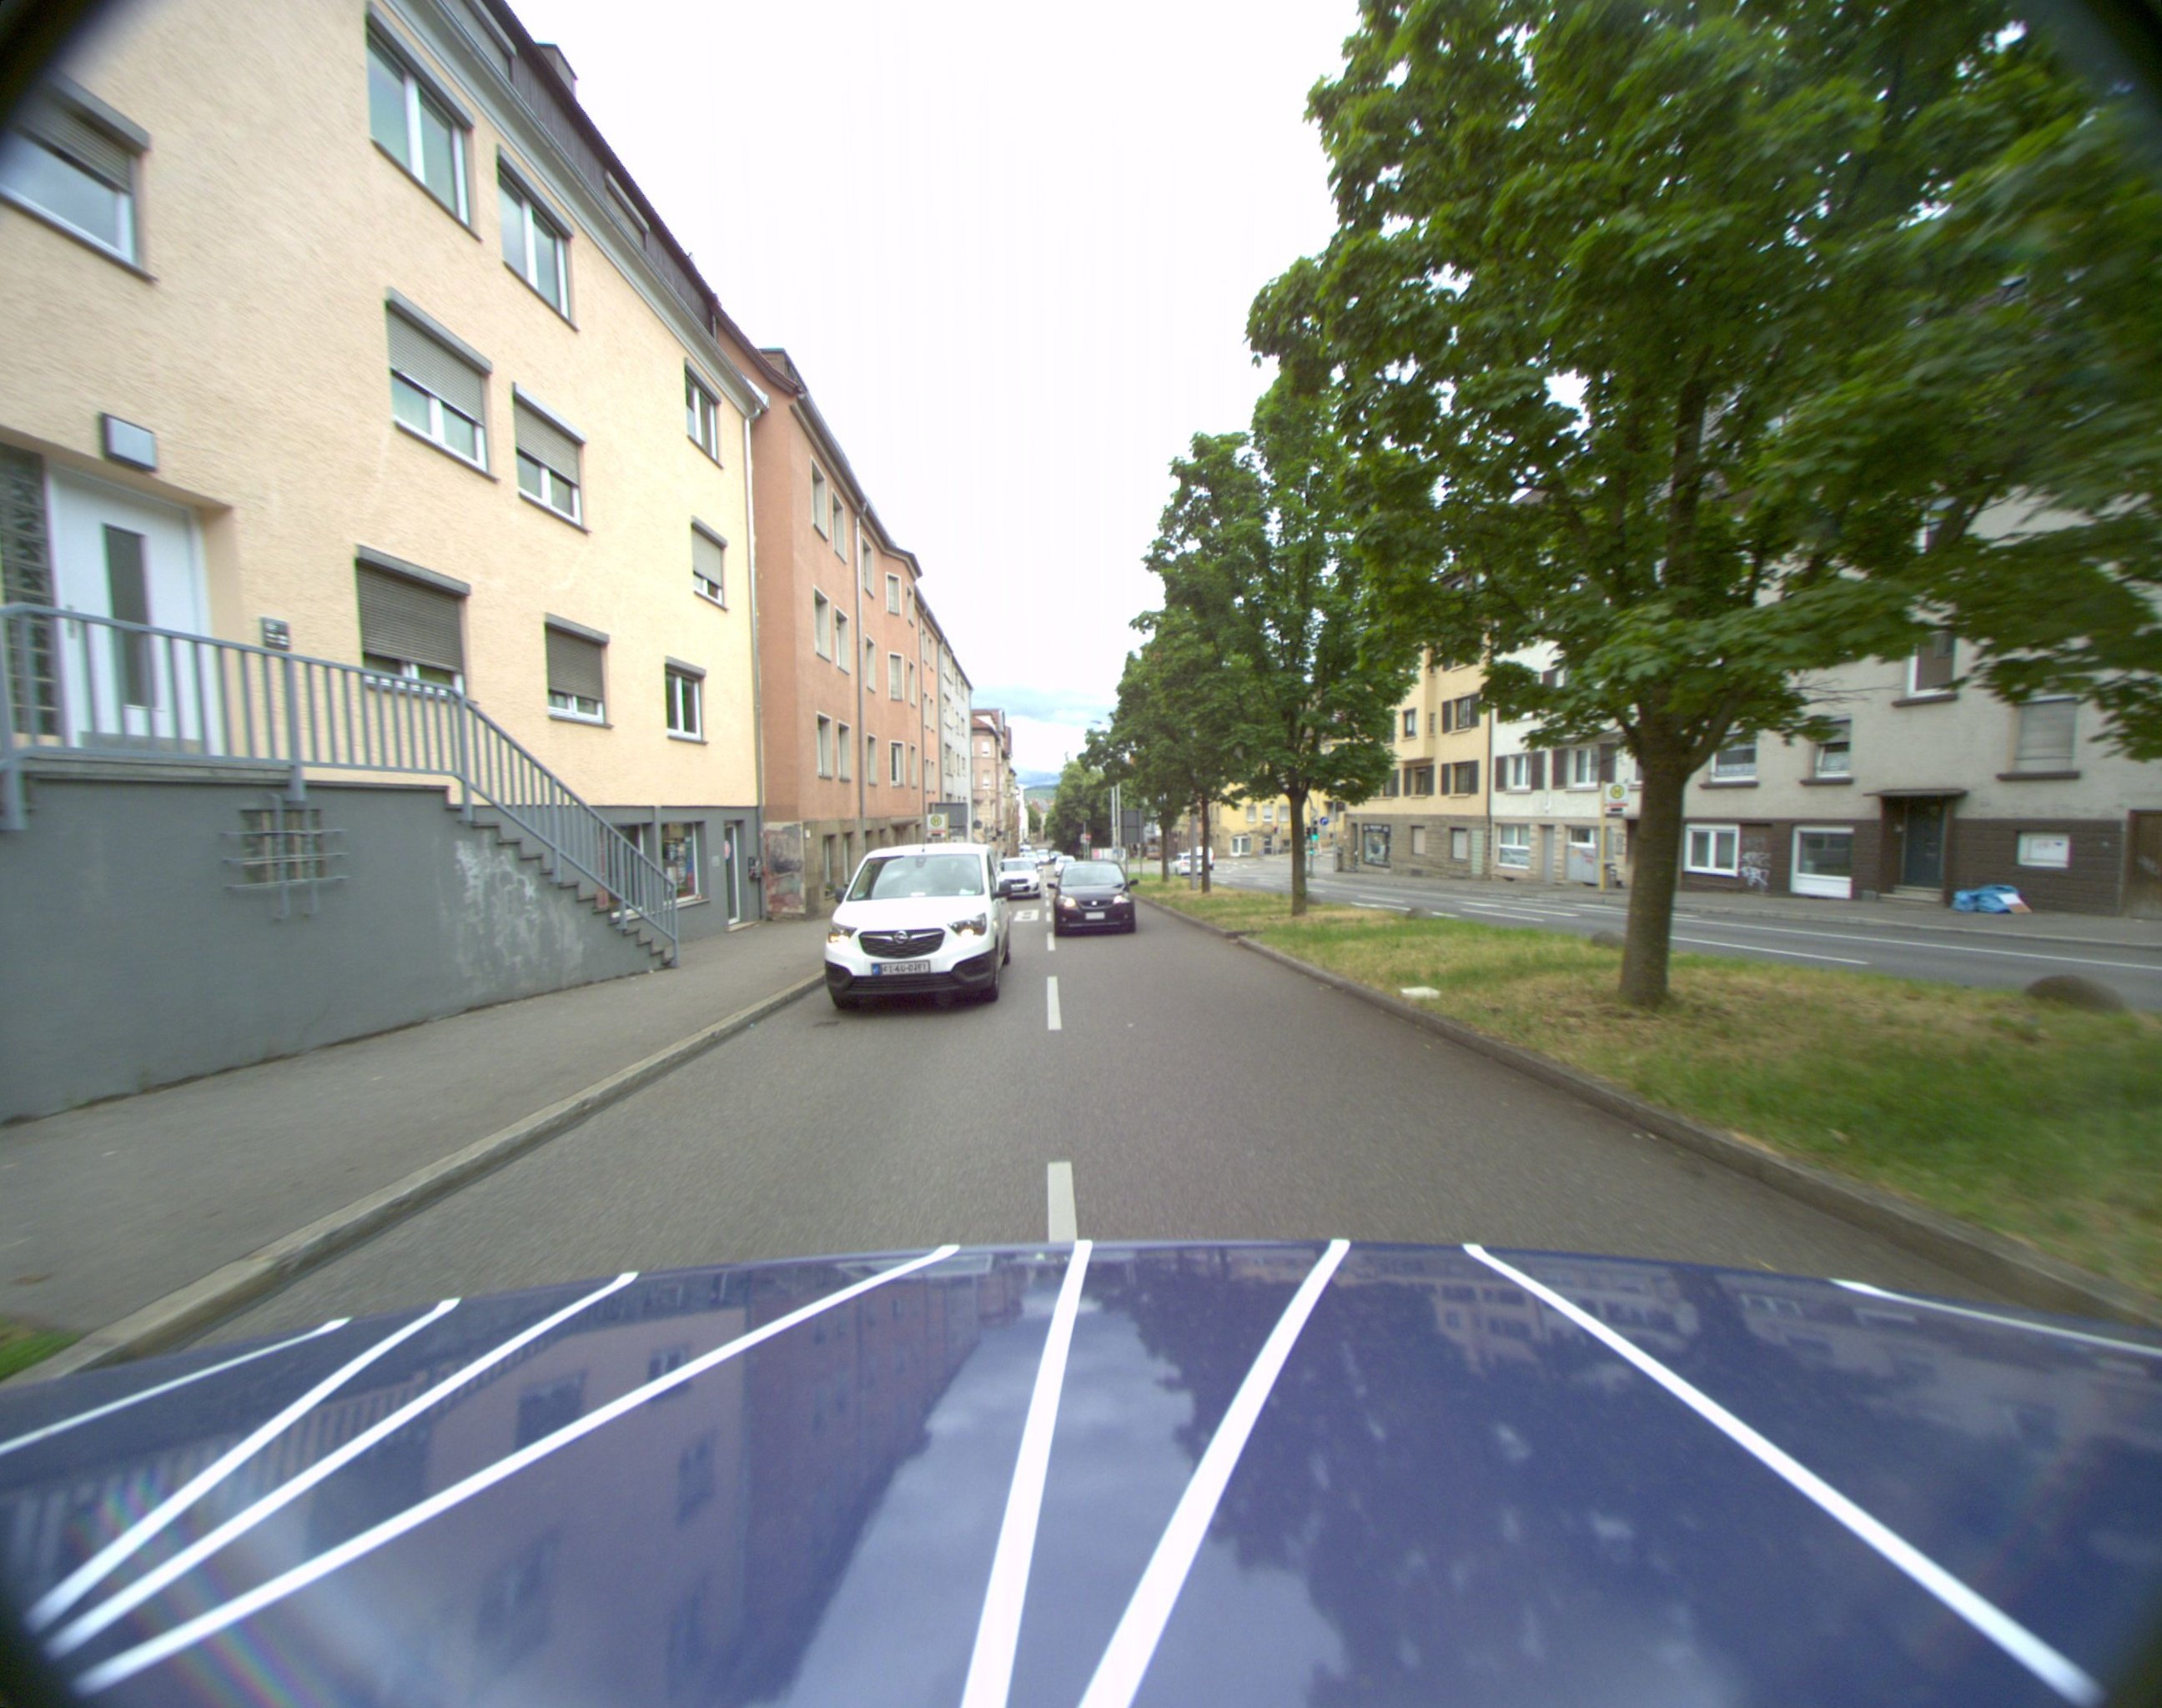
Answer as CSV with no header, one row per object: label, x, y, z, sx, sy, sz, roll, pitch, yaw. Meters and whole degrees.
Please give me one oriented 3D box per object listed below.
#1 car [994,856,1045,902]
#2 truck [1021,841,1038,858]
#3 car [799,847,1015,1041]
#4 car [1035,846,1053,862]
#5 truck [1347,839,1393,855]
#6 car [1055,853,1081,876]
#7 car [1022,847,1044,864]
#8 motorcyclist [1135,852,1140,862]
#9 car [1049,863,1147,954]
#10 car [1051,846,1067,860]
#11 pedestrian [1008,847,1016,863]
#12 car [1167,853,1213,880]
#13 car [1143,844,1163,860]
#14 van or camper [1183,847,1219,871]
car,-2.433,0.965,30.755,1.780,1.598,4.162,-4,0,-3
truck,-9.109,-0.768,134.613,2.553,2.891,7.775,0,1,-1
car,-1.890,0.846,9.794,1.789,1.779,4.842,-3,1,-3
car,-4.044,0.017,82.025,1.785,1.584,3.531,1,2,-5
truck,28.359,-0.731,74.546,4.004,1.410,1.849,-3,1,-24
car,-1.030,0.759,58.079,1.785,1.584,3.531,1,2,-5
car,-4.524,0.125,71.496,1.842,1.477,3.999,0,1,-1
motorcyclist,8.372,0.470,112.878,0.674,1.467,0.662,-2,2,-1
car,0.222,0.983,15.238,1.604,1.448,3.683,-3,1,-3
car,-2.788,-0.104,93.834,1.785,1.584,3.531,1,2,-5
pedestrian,-7.158,0.072,78.526,0.735,1.638,1.004,-2,1,-5
car,6.238,0.690,44.031,1.750,1.459,4.584,-1,1,-3
car,8.729,-0.230,92.028,1.884,1.805,4.351,-2,-1,-2
van or camper,9.403,0.335,60.020,1.913,1.751,4.653,-2,1,-2
